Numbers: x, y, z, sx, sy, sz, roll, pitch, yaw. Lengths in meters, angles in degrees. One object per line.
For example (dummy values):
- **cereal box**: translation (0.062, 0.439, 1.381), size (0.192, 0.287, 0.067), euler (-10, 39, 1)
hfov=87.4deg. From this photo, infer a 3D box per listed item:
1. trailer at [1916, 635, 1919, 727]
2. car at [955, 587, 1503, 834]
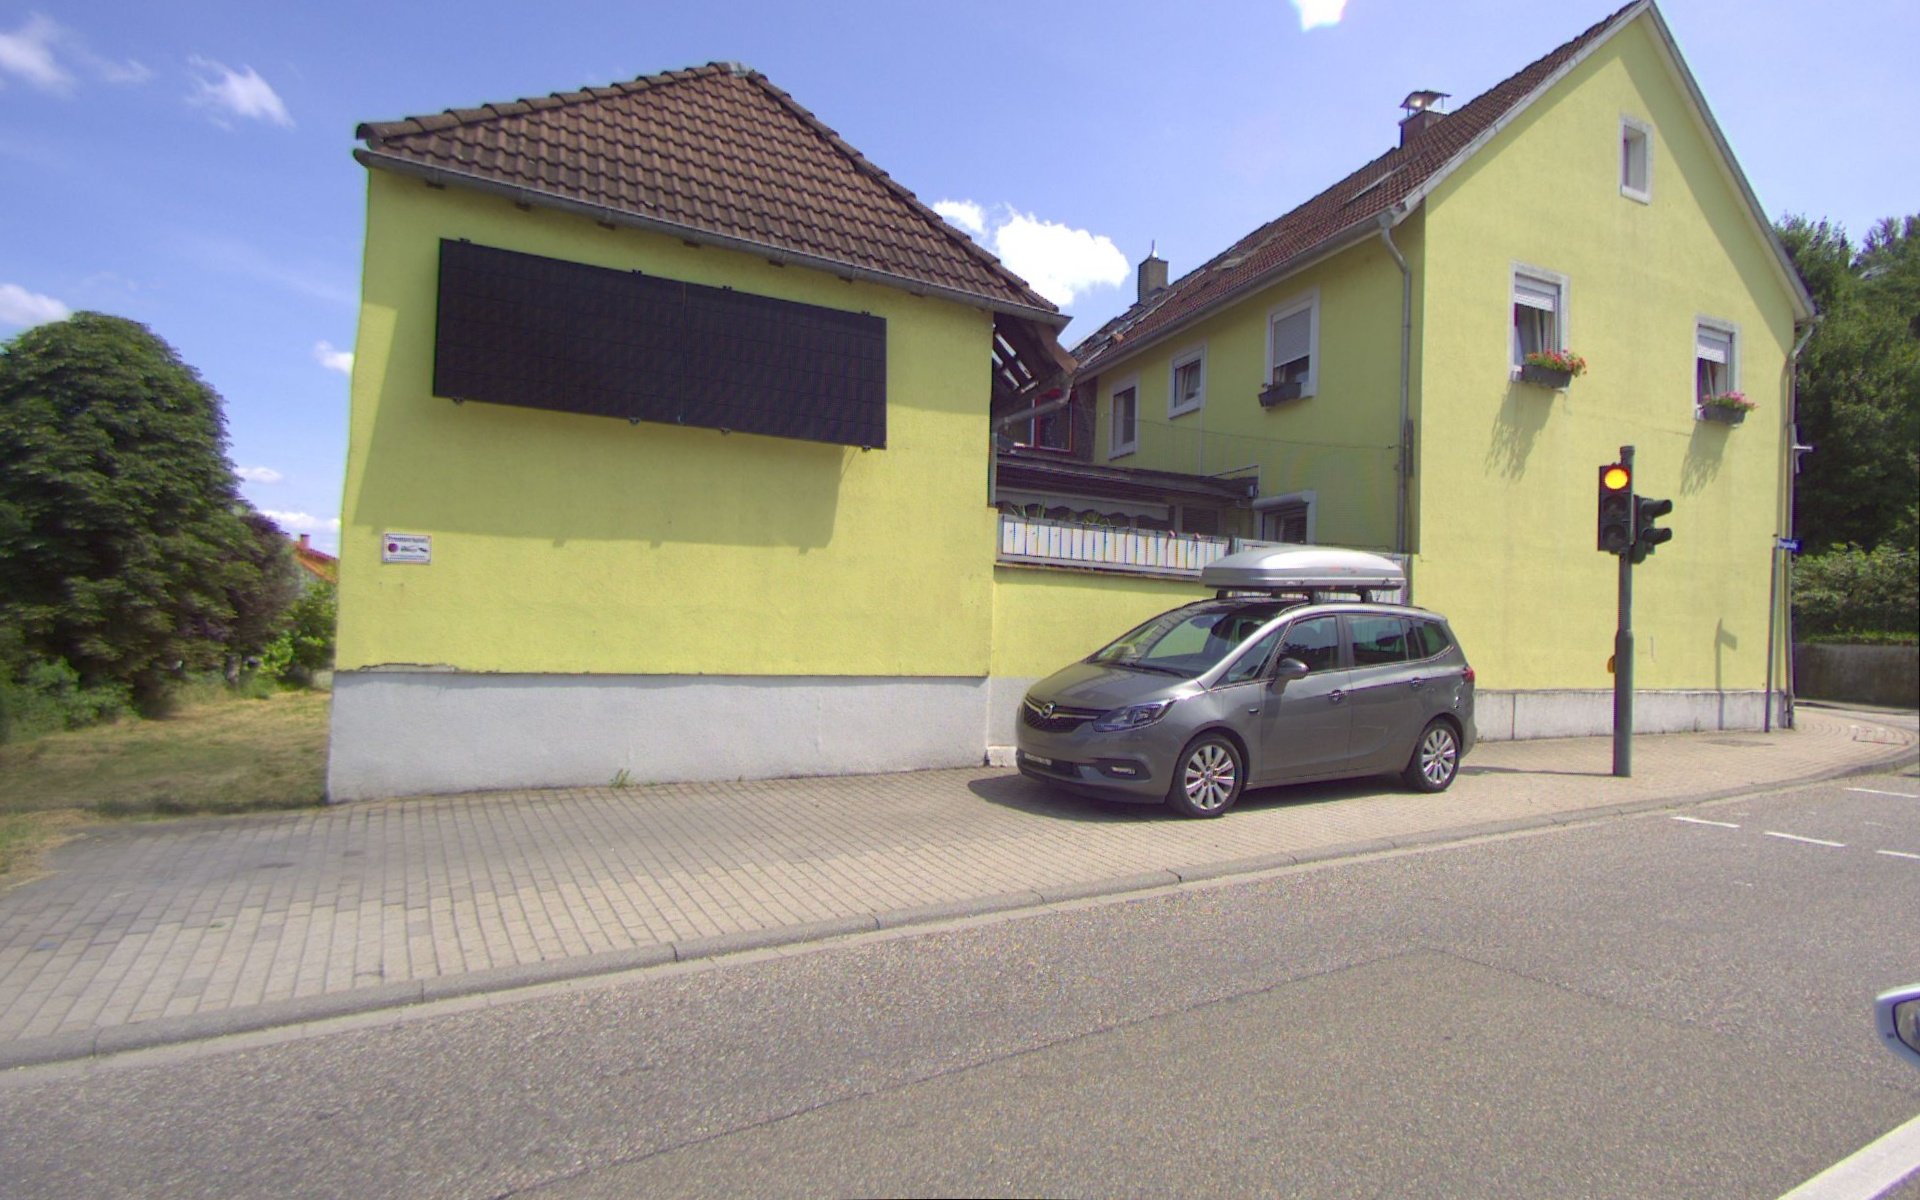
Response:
- **trailer**: translation (16.376, 1.288, 14.678), size (1.940, 1.559, 4.444), euler (0, -2, 22)
- **car**: translation (2.442, 0.801, 8.824), size (4.575, 1.657, 1.984), euler (2, 1, -30)
